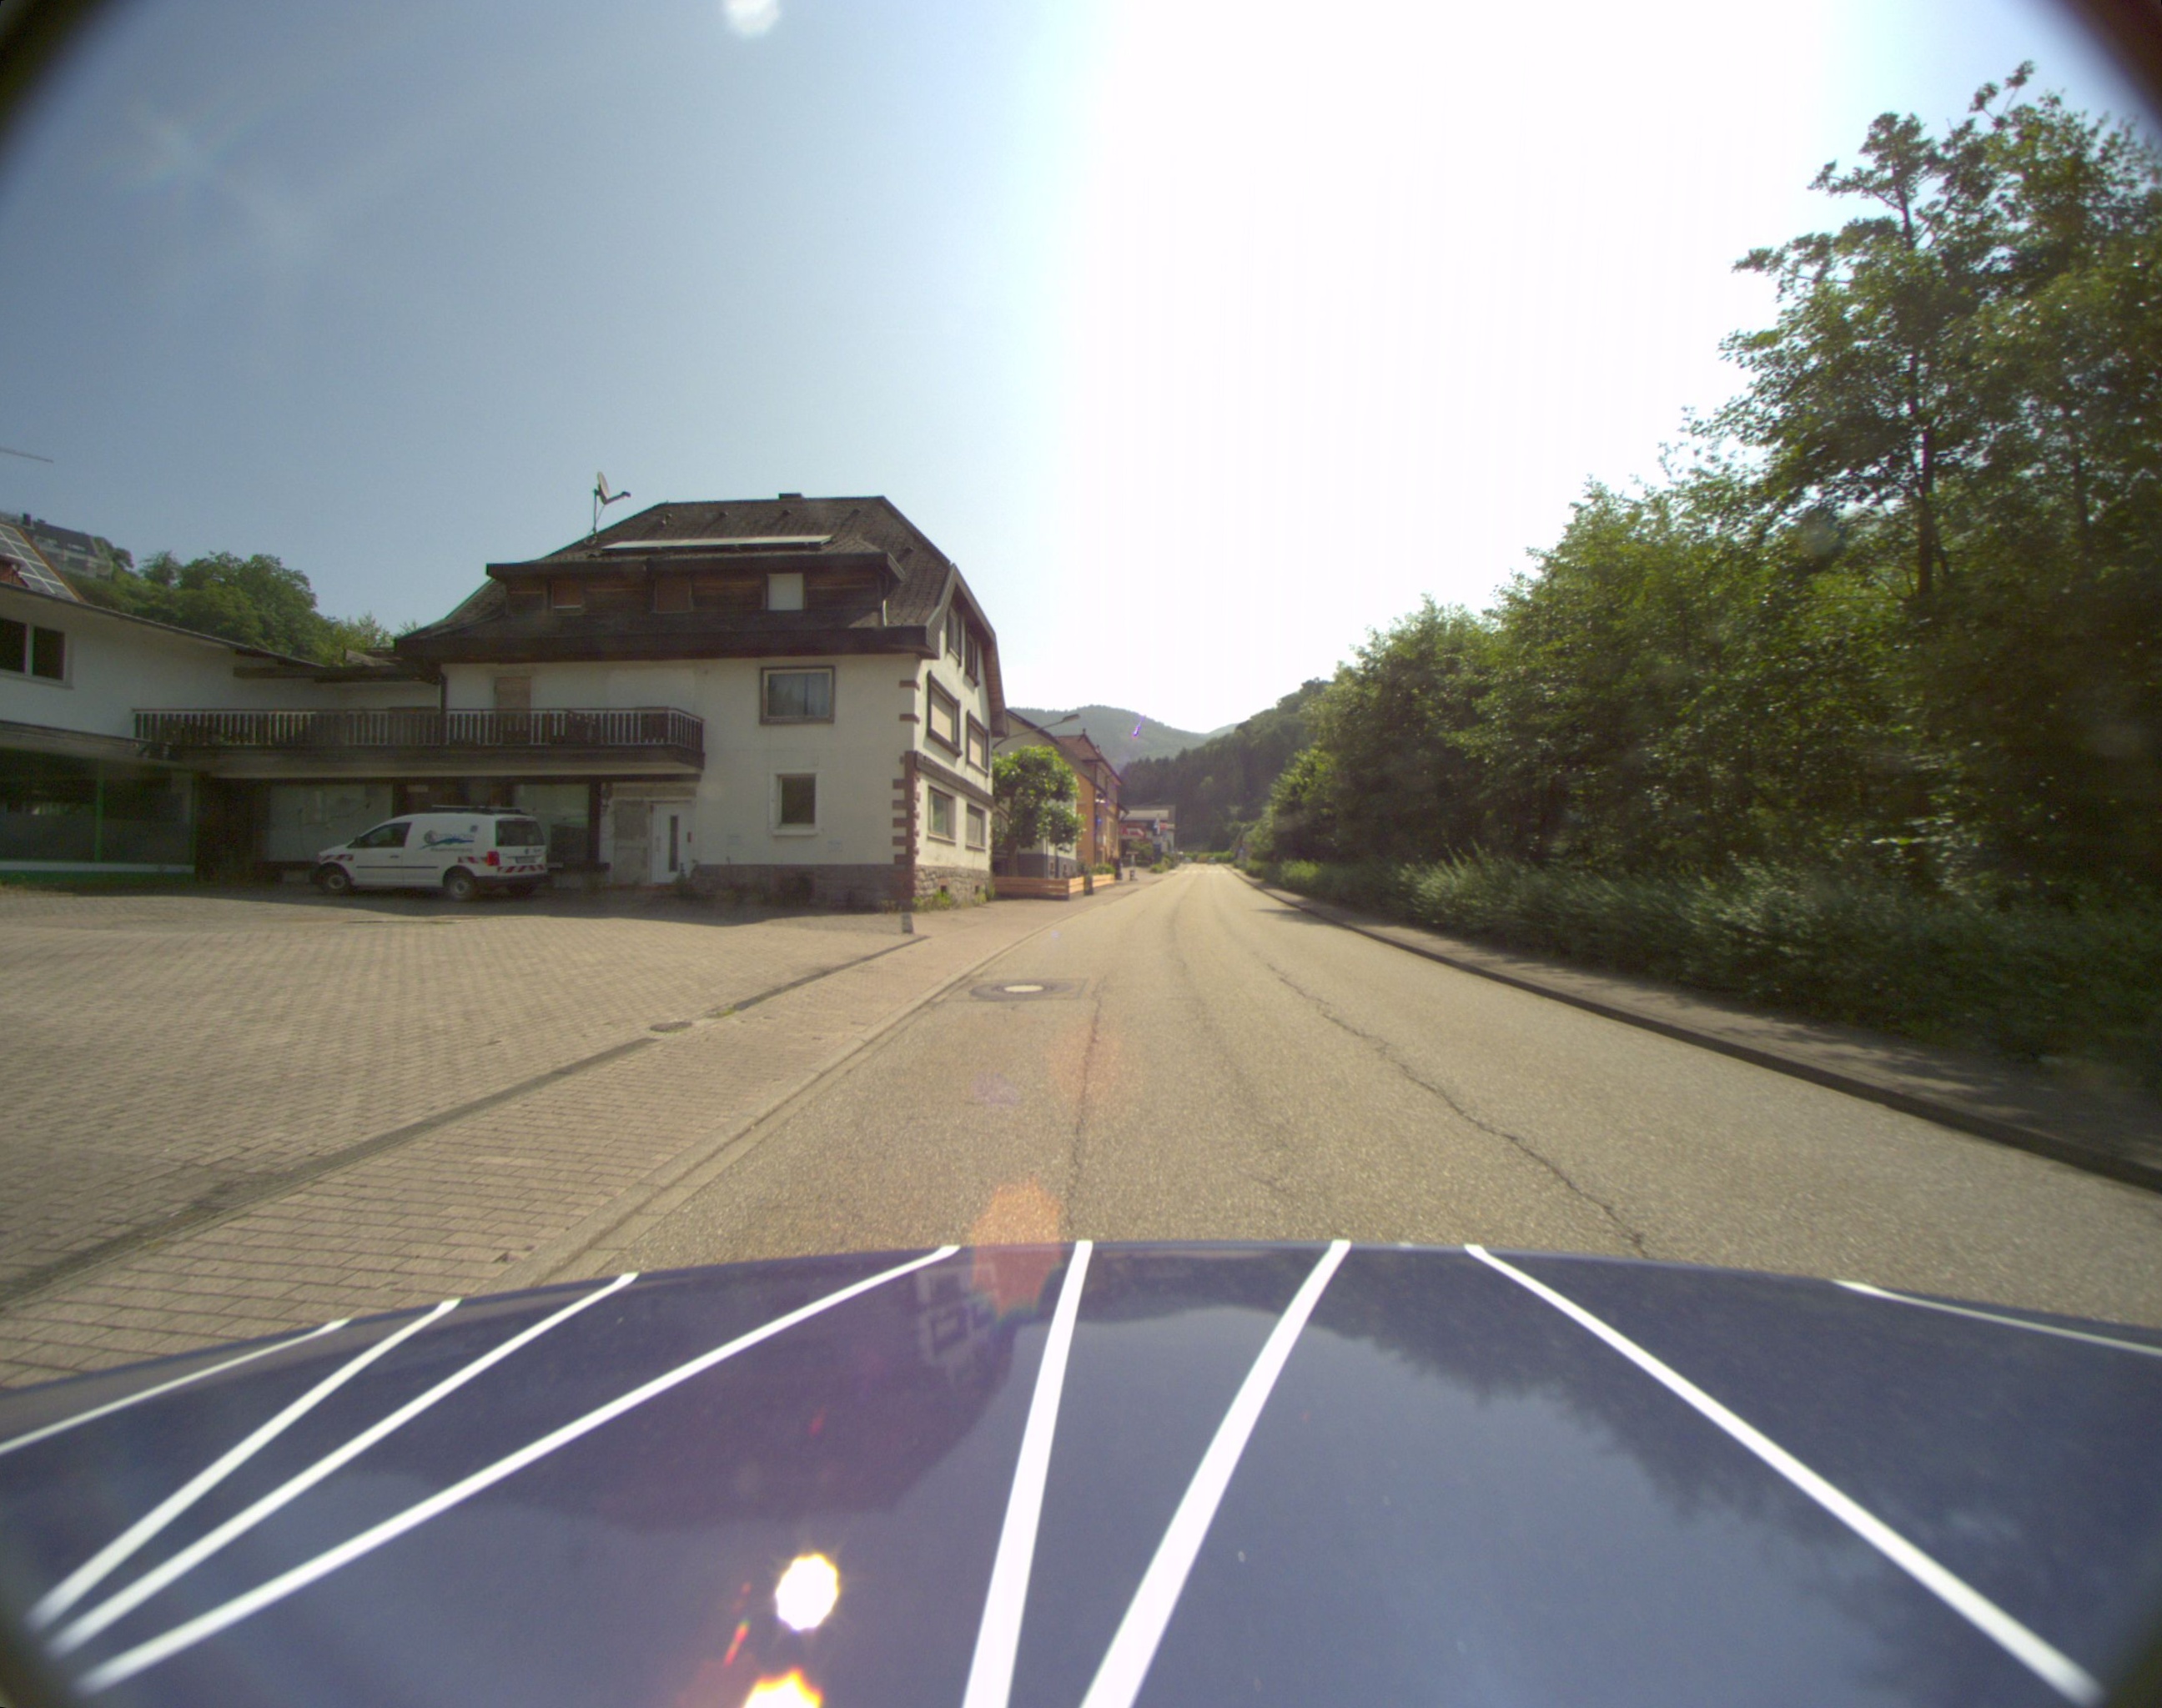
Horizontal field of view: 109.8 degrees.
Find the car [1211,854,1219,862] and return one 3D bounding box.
[{"bbox_3d":[28.681,0.848,162.090,1.593,1.474,3.760,1,0,11],"label":"car"}]

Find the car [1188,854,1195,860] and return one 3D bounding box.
[{"bbox_3d":[26.681,0.782,183.870,1.607,1.398,3.830,2,1,9],"label":"car"}]

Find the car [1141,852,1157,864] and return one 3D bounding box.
[{"bbox_3d":[9.240,0.513,103.244,1.694,1.568,3.914,4,1,11],"label":"car"}]

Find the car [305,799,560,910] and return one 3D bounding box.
[{"bbox_3d":[-13.751,-0.003,16.258,4.015,1.973,1.636,4,2,1],"label":"car"}]

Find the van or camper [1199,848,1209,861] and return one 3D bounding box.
[{"bbox_3d":[29.948,0.146,184.715,2.362,2.935,8.058,1,0,10],"label":"van or camper"}]
